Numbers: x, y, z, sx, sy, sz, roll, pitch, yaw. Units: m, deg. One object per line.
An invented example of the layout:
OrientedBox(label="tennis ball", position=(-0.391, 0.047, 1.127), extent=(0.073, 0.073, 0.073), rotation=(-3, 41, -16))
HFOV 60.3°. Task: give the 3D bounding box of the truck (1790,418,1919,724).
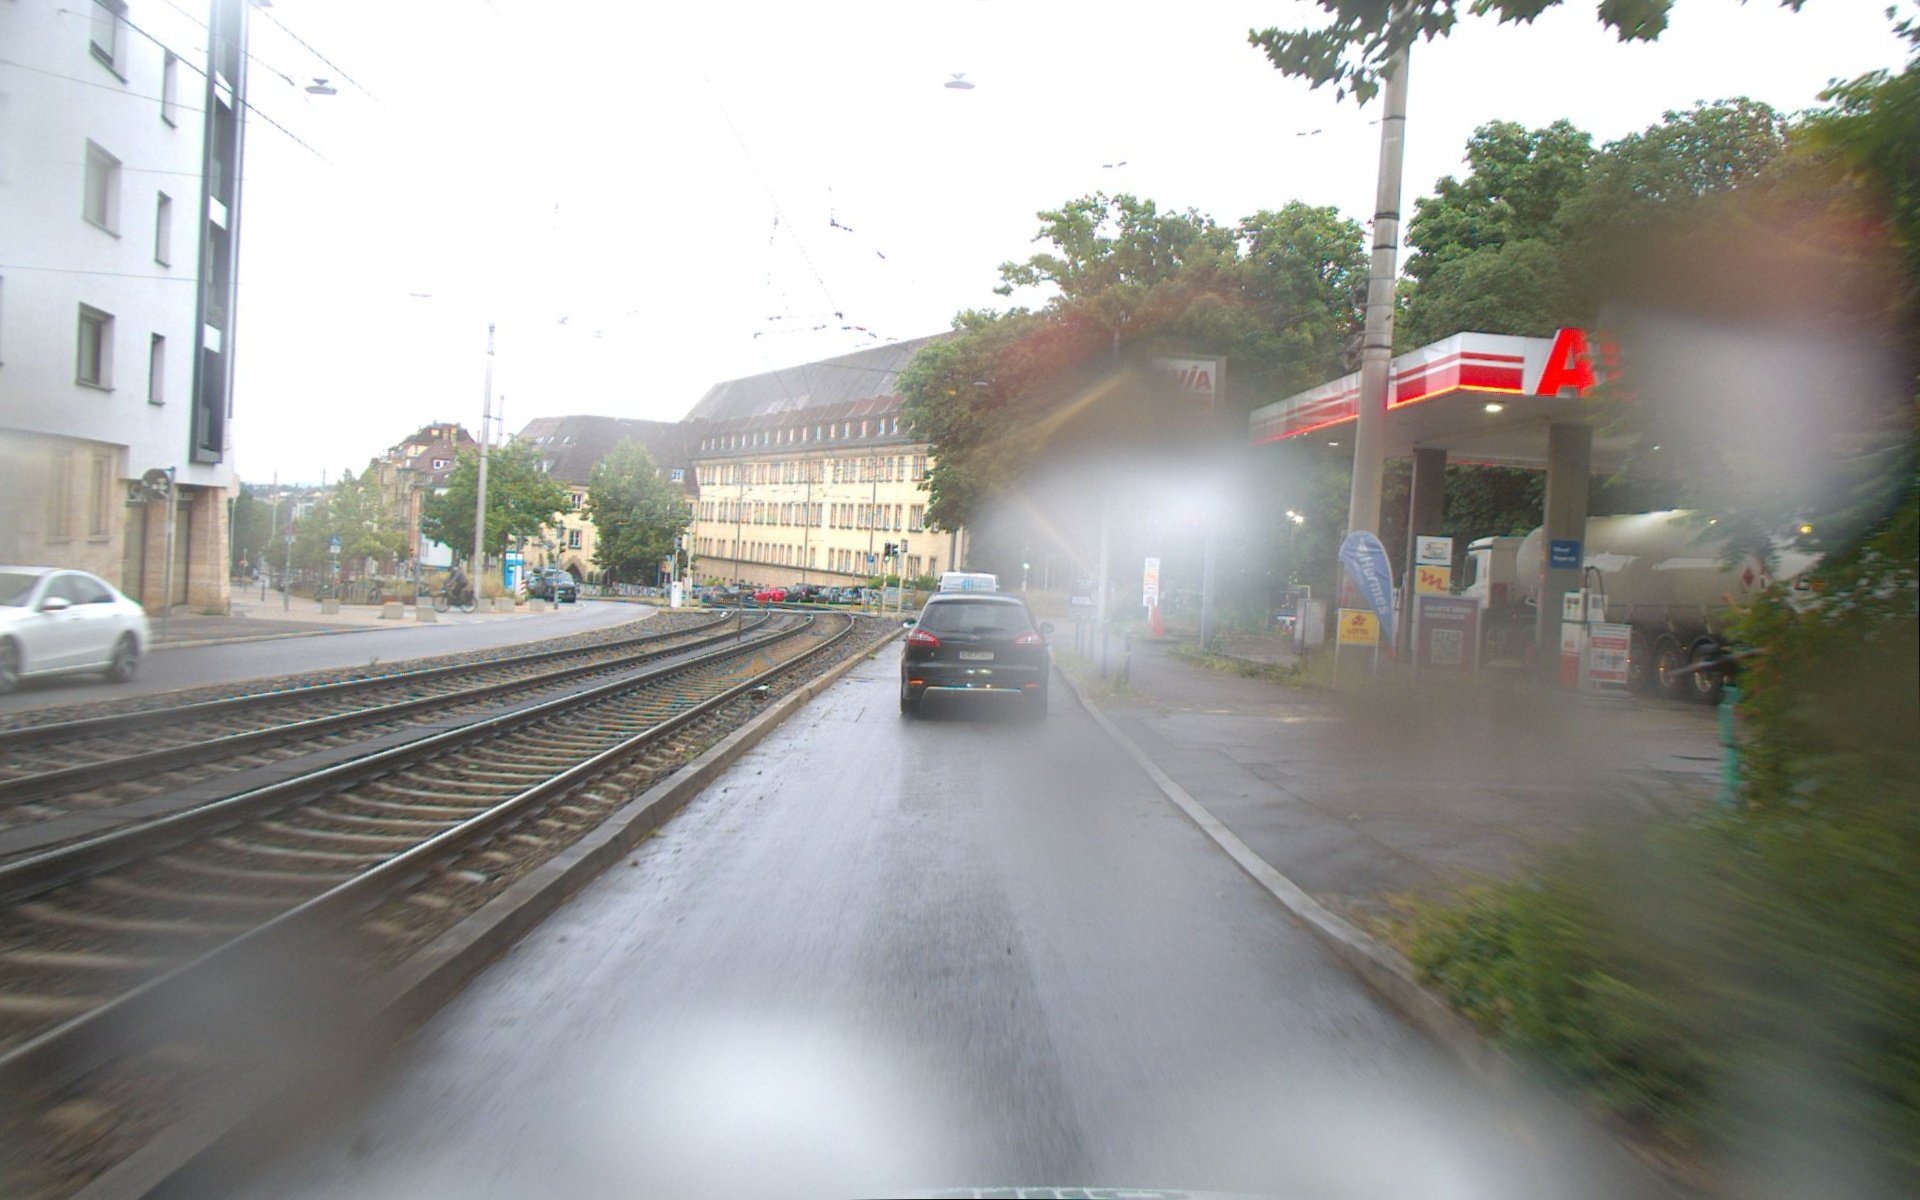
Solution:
OrientedBox(label="truck", position=(13.544, -0.302, 18.406), extent=(3.846, 3.741, 10.379), rotation=(1, 1, 3))

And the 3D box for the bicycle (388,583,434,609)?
OrientedBox(label="bicycle", position=(-24.084, -0.173, 72.546), extent=(1.778, 1.079, 0.570), rotation=(3, 0, -5))

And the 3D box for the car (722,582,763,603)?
OrientedBox(label="car", position=(-17.616, -0.612, 133.715), extent=(1.972, 1.569, 3.962), rotation=(1, 1, -29))

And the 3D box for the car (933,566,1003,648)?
OrientedBox(label="car", position=(0.177, 0.178, 44.851), extent=(1.705, 2.049, 3.903), rotation=(3, 0, -1))

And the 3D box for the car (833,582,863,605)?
OrientedBox(label="car", position=(-7.921, -0.465, 116.390), extent=(1.627, 1.502, 3.634), rotation=(3, 0, -11))

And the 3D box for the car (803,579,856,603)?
OrientedBox(label="car", position=(-9.479, -0.682, 120.023), extent=(1.978, 1.569, 3.949), rotation=(3, 0, -36))

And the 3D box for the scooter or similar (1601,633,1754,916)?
OrientedBox(label="scooter or similar", position=(3.392, 0.782, 7.888), extent=(0.363, 1.220, 1.242), rotation=(3, -2, 11))

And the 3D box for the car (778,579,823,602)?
OrientedBox(label="car", position=(-12.084, -0.728, 124.882), extent=(1.568, 1.569, 3.949), rotation=(3, 0, -36))

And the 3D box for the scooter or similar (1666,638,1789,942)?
OrientedBox(label="scooter or similar", position=(3.505, 0.821, 7.609), extent=(0.365, 1.256, 1.371), rotation=(1, -2, 20))

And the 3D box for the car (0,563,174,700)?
OrientedBox(label="car", position=(-11.501, 0.316, 19.891), extent=(1.763, 1.508, 4.839), rotation=(3, 0, -1))

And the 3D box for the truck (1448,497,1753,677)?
OrientedBox(label="truck", position=(14.127, -0.301, 37.285), extent=(3.825, 3.578, 6.975), rotation=(1, 1, -3))

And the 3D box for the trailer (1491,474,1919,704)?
OrientedBox(label="trailer", position=(14.300, -0.244, 32.124), extent=(3.819, 3.567, 11.783), rotation=(1, 1, -2))

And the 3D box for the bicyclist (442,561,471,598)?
OrientedBox(label="bicyclist", position=(-18.518, -0.753, 60.831), extent=(0.766, 1.336, 0.780), rotation=(1, 0, -39))

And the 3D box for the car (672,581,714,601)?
OrientedBox(label="car", position=(-22.799, -0.795, 141.069), extent=(1.976, 1.569, 3.952), rotation=(3, 0, -35))

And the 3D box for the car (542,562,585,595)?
OrientedBox(label="car", position=(-20.850, -1.130, 87.063), extent=(1.958, 1.569, 3.989), rotation=(3, 0, -11))

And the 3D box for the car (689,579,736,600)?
OrientedBox(label="car", position=(-20.544, -0.889, 137.051), extent=(1.984, 1.569, 3.938), rotation=(3, 0, -43))

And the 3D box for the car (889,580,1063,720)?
OrientedBox(label="car", position=(0.180, 0.575, 20.988), extent=(1.894, 1.478, 4.317), rotation=(4, 0, 0))

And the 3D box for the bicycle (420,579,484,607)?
OrientedBox(label="bicycle", position=(-18.665, -0.248, 60.772), extent=(2.085, 0.959, 0.804), rotation=(1, 0, -40))

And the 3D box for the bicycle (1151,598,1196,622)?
OrientedBox(label="bicycle", position=(8.584, 0.403, 66.533), extent=(0.729, 0.884, 1.976), rotation=(1, 1, -32))

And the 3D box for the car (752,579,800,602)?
OrientedBox(label="car", position=(-14.374, -0.749, 129.185), extent=(1.979, 1.569, 3.946), rotation=(3, 0, -38))

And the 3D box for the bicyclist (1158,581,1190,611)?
OrientedBox(label="bicyclist", position=(8.598, -0.160, 66.498), extent=(0.729, 1.200, 1.065), rotation=(1, 0, -32))
